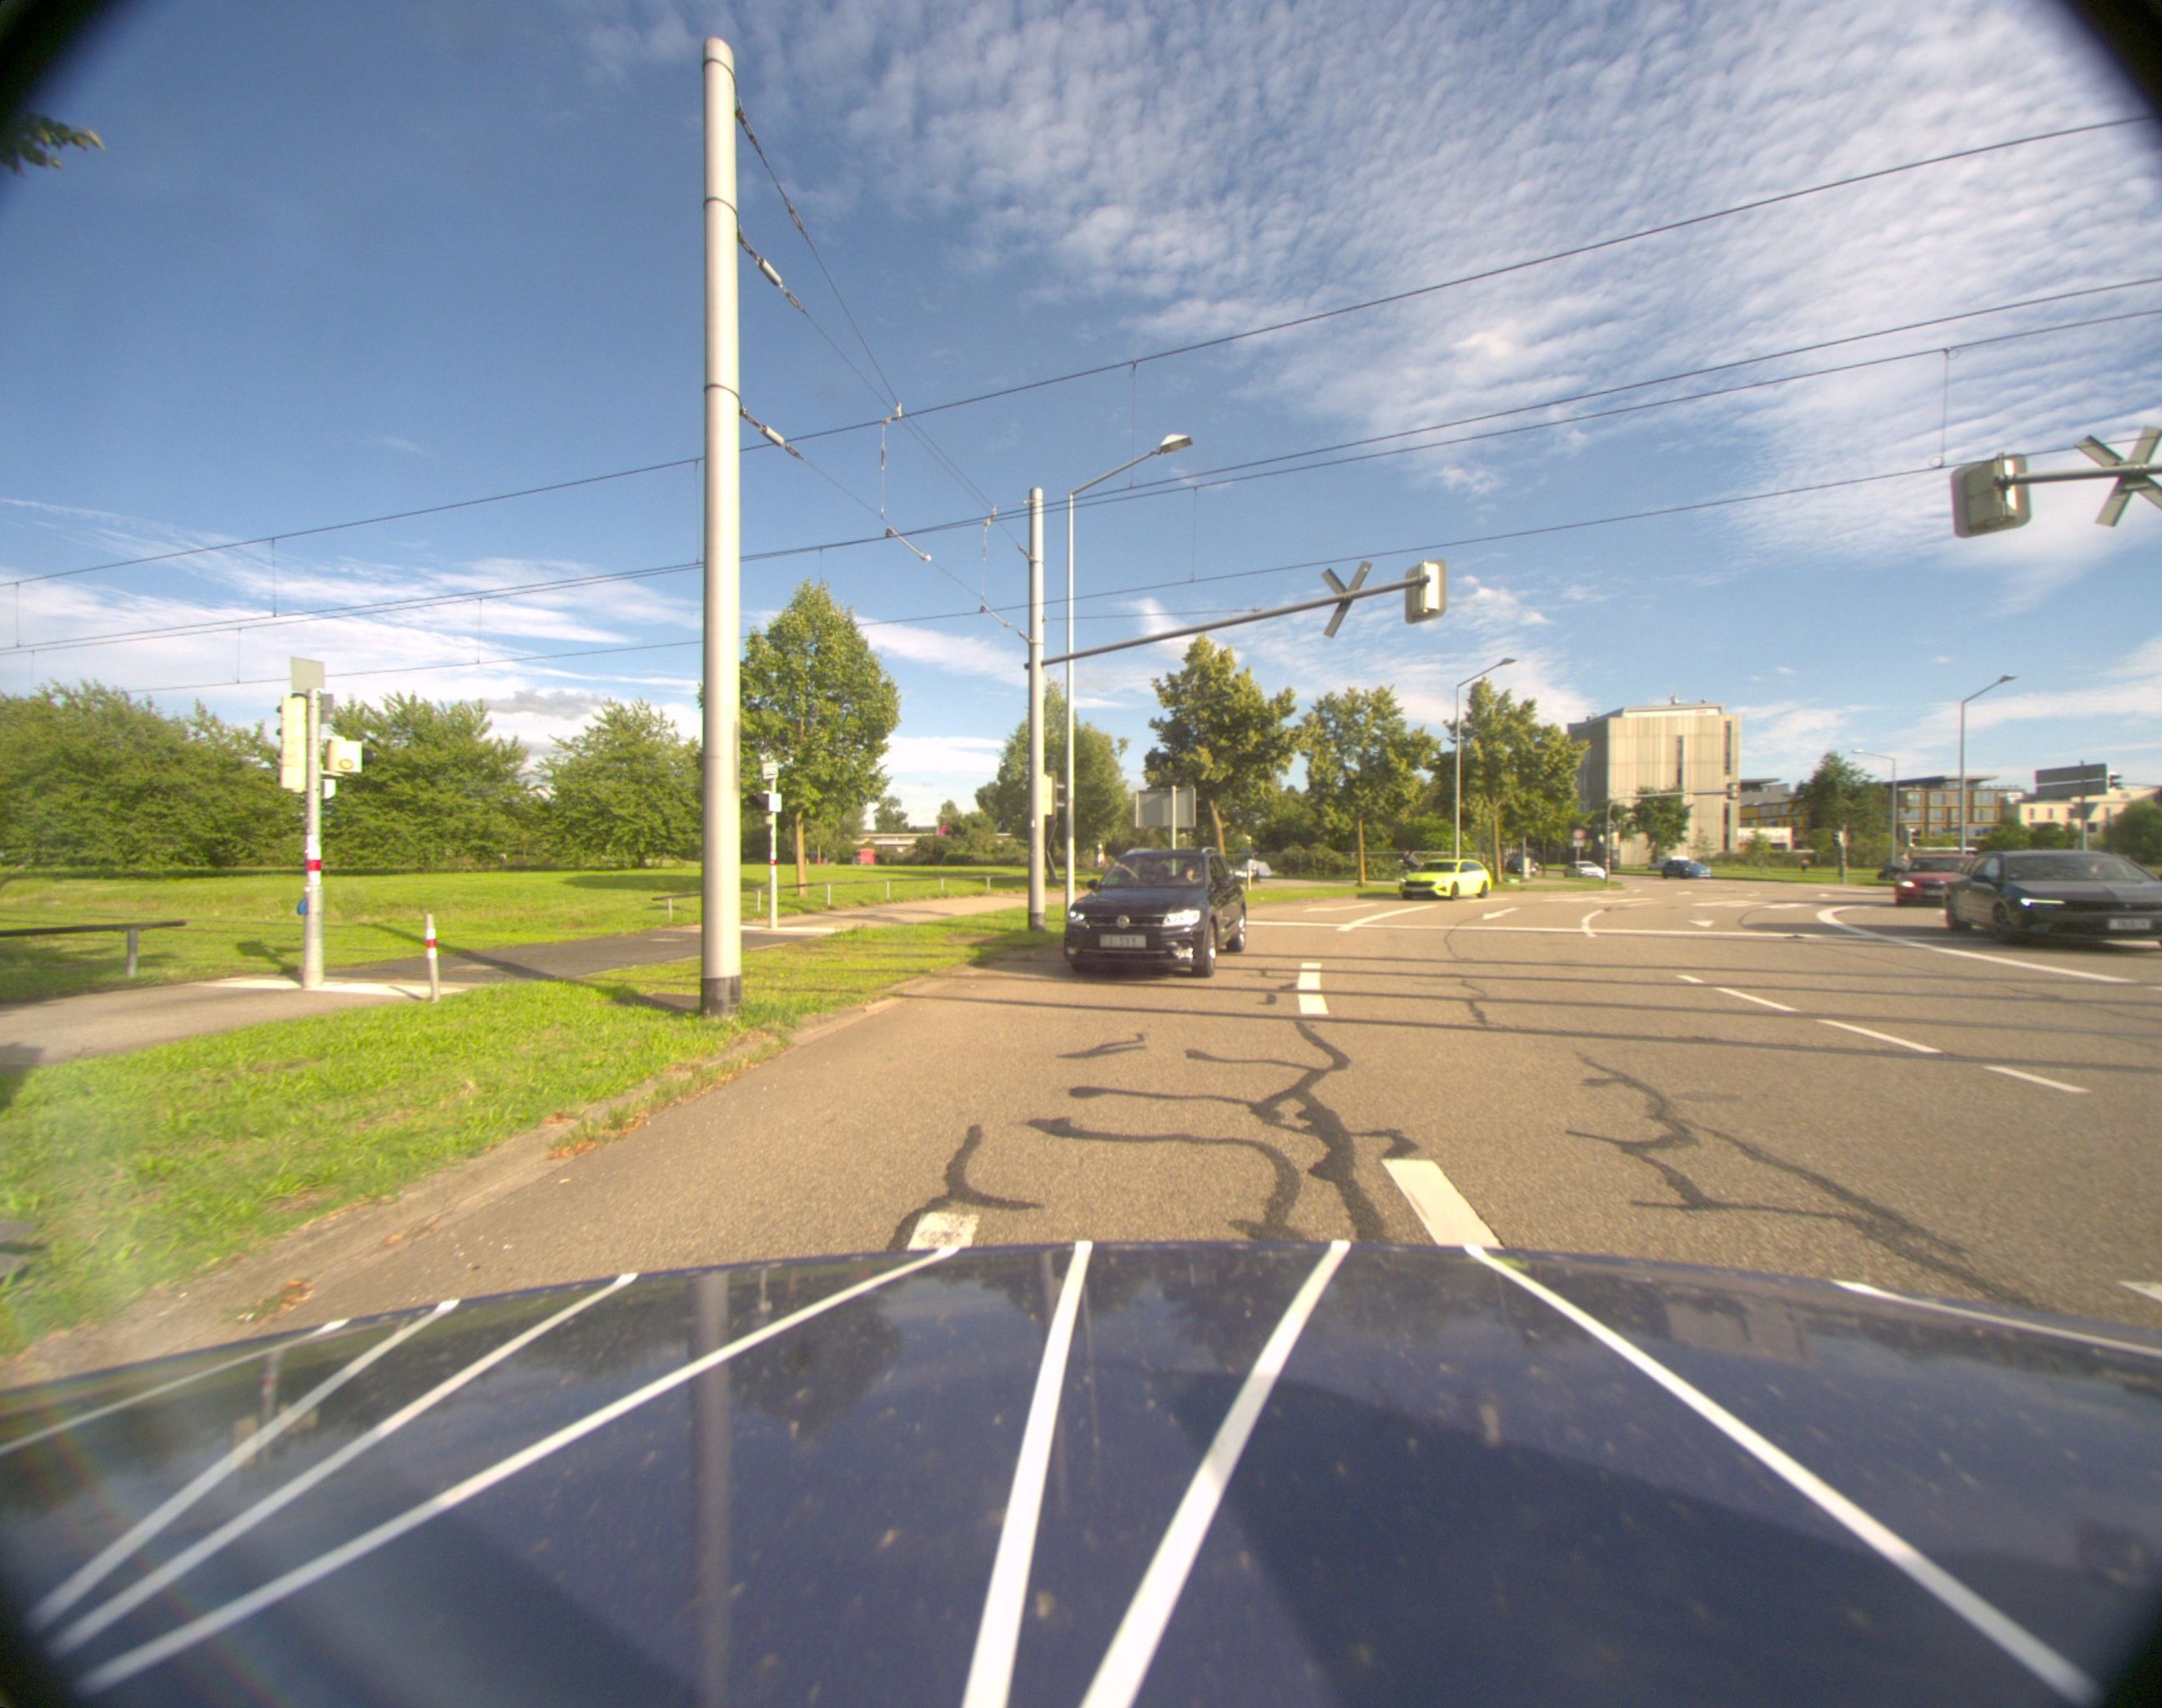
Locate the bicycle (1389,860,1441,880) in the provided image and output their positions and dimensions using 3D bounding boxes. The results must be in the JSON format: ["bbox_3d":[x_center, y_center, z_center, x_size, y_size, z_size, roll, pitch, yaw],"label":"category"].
[{"bbox_3d":[19.004,0.905,43.250,2.600,1.119,0.804,0,1,-1],"label":"bicycle"}]

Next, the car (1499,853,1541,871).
[{"bbox_3d":[42.946,0.774,74.451,1.997,1.652,4.807,0,1,11],"label":"car"}]

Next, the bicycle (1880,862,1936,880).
[{"bbox_3d":[47.913,0.981,44.032,1.957,1.001,1.003,0,1,17],"label":"bicycle"}]

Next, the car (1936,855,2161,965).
[{"bbox_3d":[15.689,0.767,12.258,1.819,1.412,4.456,-1,0,39],"label":"car"}]

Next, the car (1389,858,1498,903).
[{"bbox_3d":[13.202,0.900,27.541,4.617,1.412,1.892,-1,0,-41],"label":"car"}]

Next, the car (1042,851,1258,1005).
[{"bbox_3d":[1.302,0.822,11.170,1.868,1.685,5.022,0,1,21],"label":"car"}]

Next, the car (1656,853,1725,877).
[{"bbox_3d":[45.866,0.783,57.329,1.997,1.652,4.806,0,1,10],"label":"car"}]

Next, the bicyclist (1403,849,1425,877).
[{"bbox_3d":[18.955,0.504,43.238,0.904,1.538,0.804,0,1,-2],"label":"bicyclist"}]

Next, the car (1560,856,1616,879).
[{"bbox_3d":[40.109,1.041,60.241,1.997,1.652,4.807,0,1,11],"label":"car"}]

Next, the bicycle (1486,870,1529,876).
[{"bbox_3d":[28.155,1.238,50.191,1.091,0.344,2.247,-1,-2,-21],"label":"bicycle"}]

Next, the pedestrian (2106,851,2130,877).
[{"bbox_3d":[67.307,0.640,49.310,0.627,1.620,0.658,-1,0,15],"label":"pedestrian"}]

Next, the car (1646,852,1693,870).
[{"bbox_3d":[62.906,0.678,81.324,1.683,1.814,4.563,2,0,5],"label":"car"}]

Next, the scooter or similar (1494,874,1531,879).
[{"bbox_3d":[26.973,1.423,47.473,1.554,0.279,1.292,0,0,-12],"label":"scooter or similar"}]

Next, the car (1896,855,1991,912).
[{"bbox_3d":[24.556,0.793,21.719,4.236,1.466,1.690,1,-1,-42],"label":"car"}]

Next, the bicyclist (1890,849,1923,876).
[{"bbox_3d":[47.814,0.458,44.021,0.864,1.547,0.999,0,1,17],"label":"bicyclist"}]
